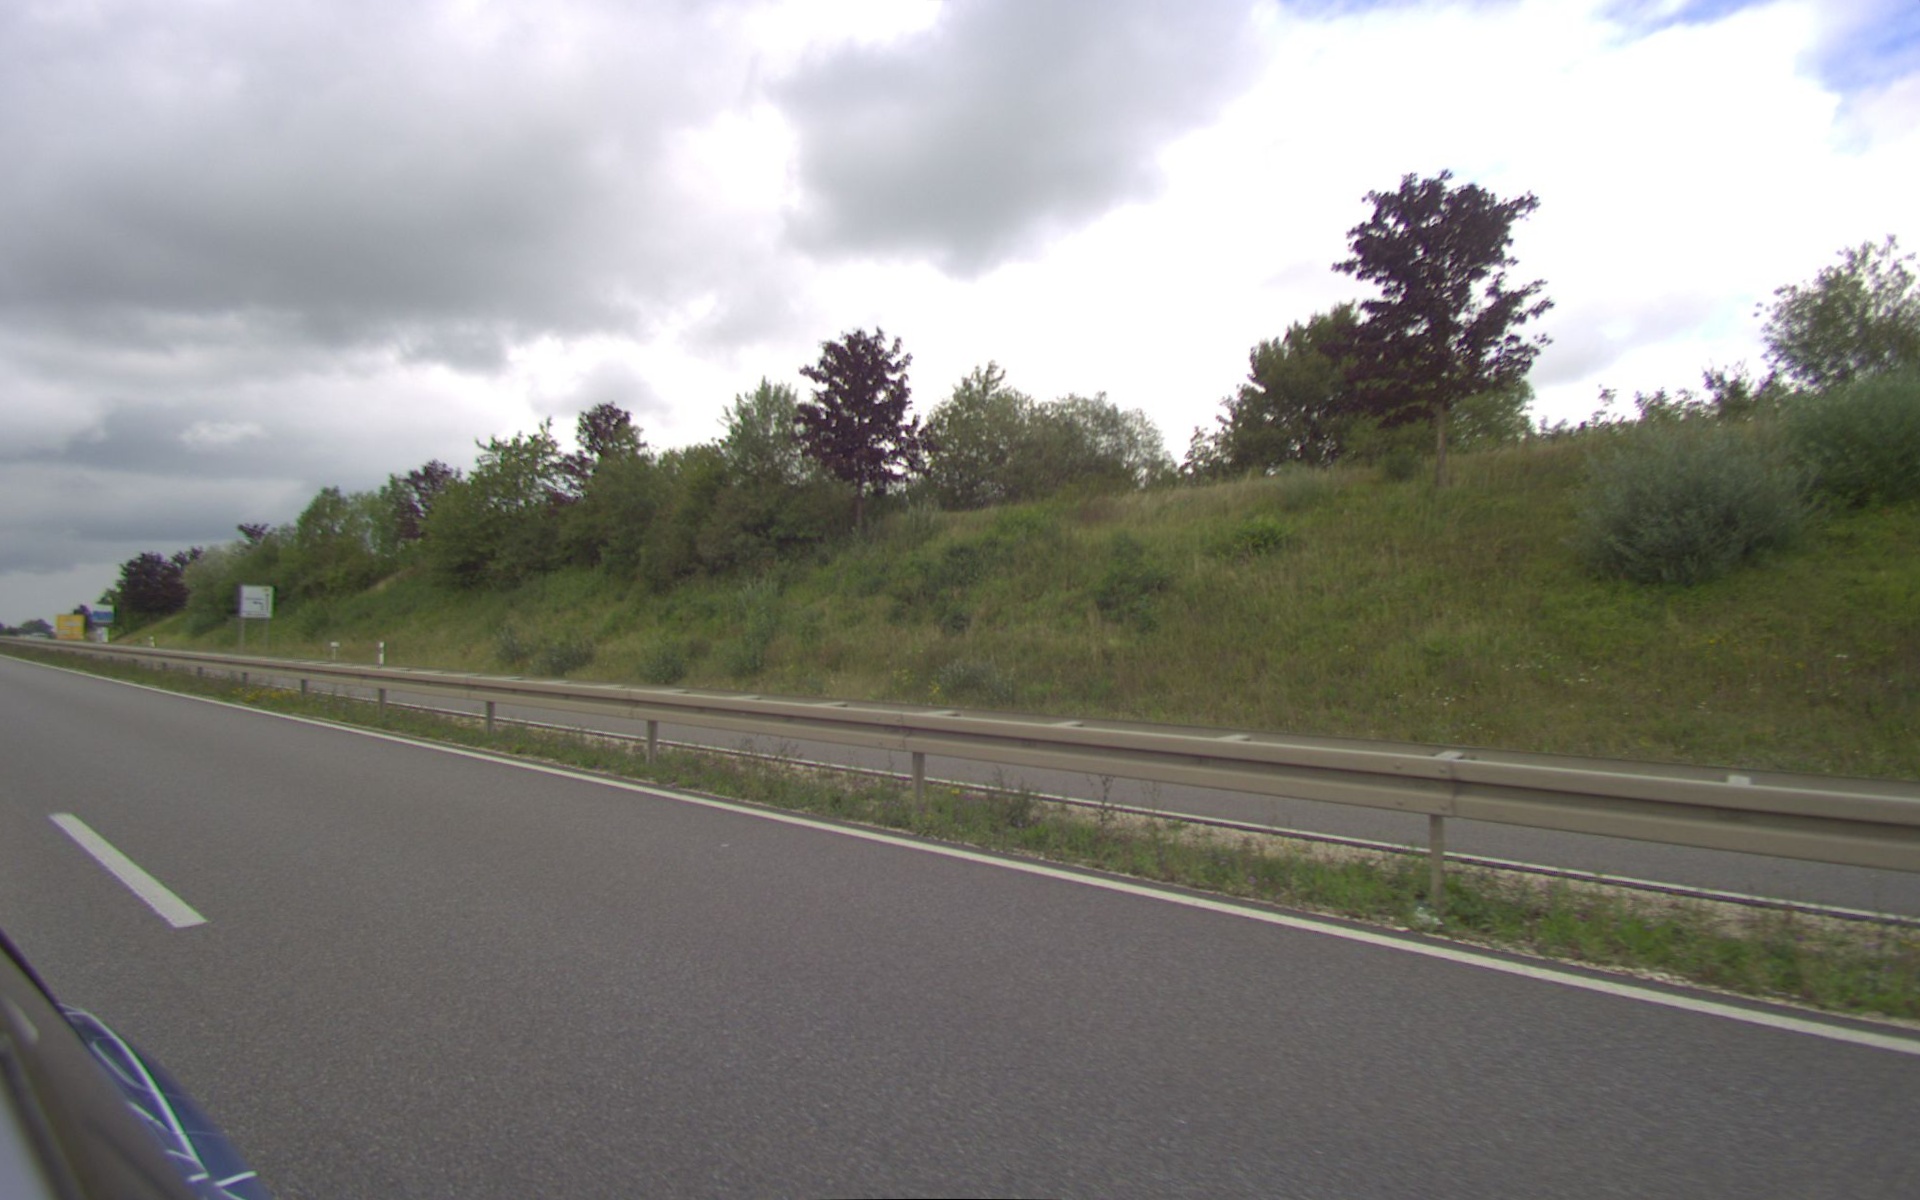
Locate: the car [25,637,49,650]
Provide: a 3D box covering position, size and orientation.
[{"bbox_3d":[-119.781,5.653,131.362,4.462,1.529,1.900,-4,-4,42],"label":"car"}]
